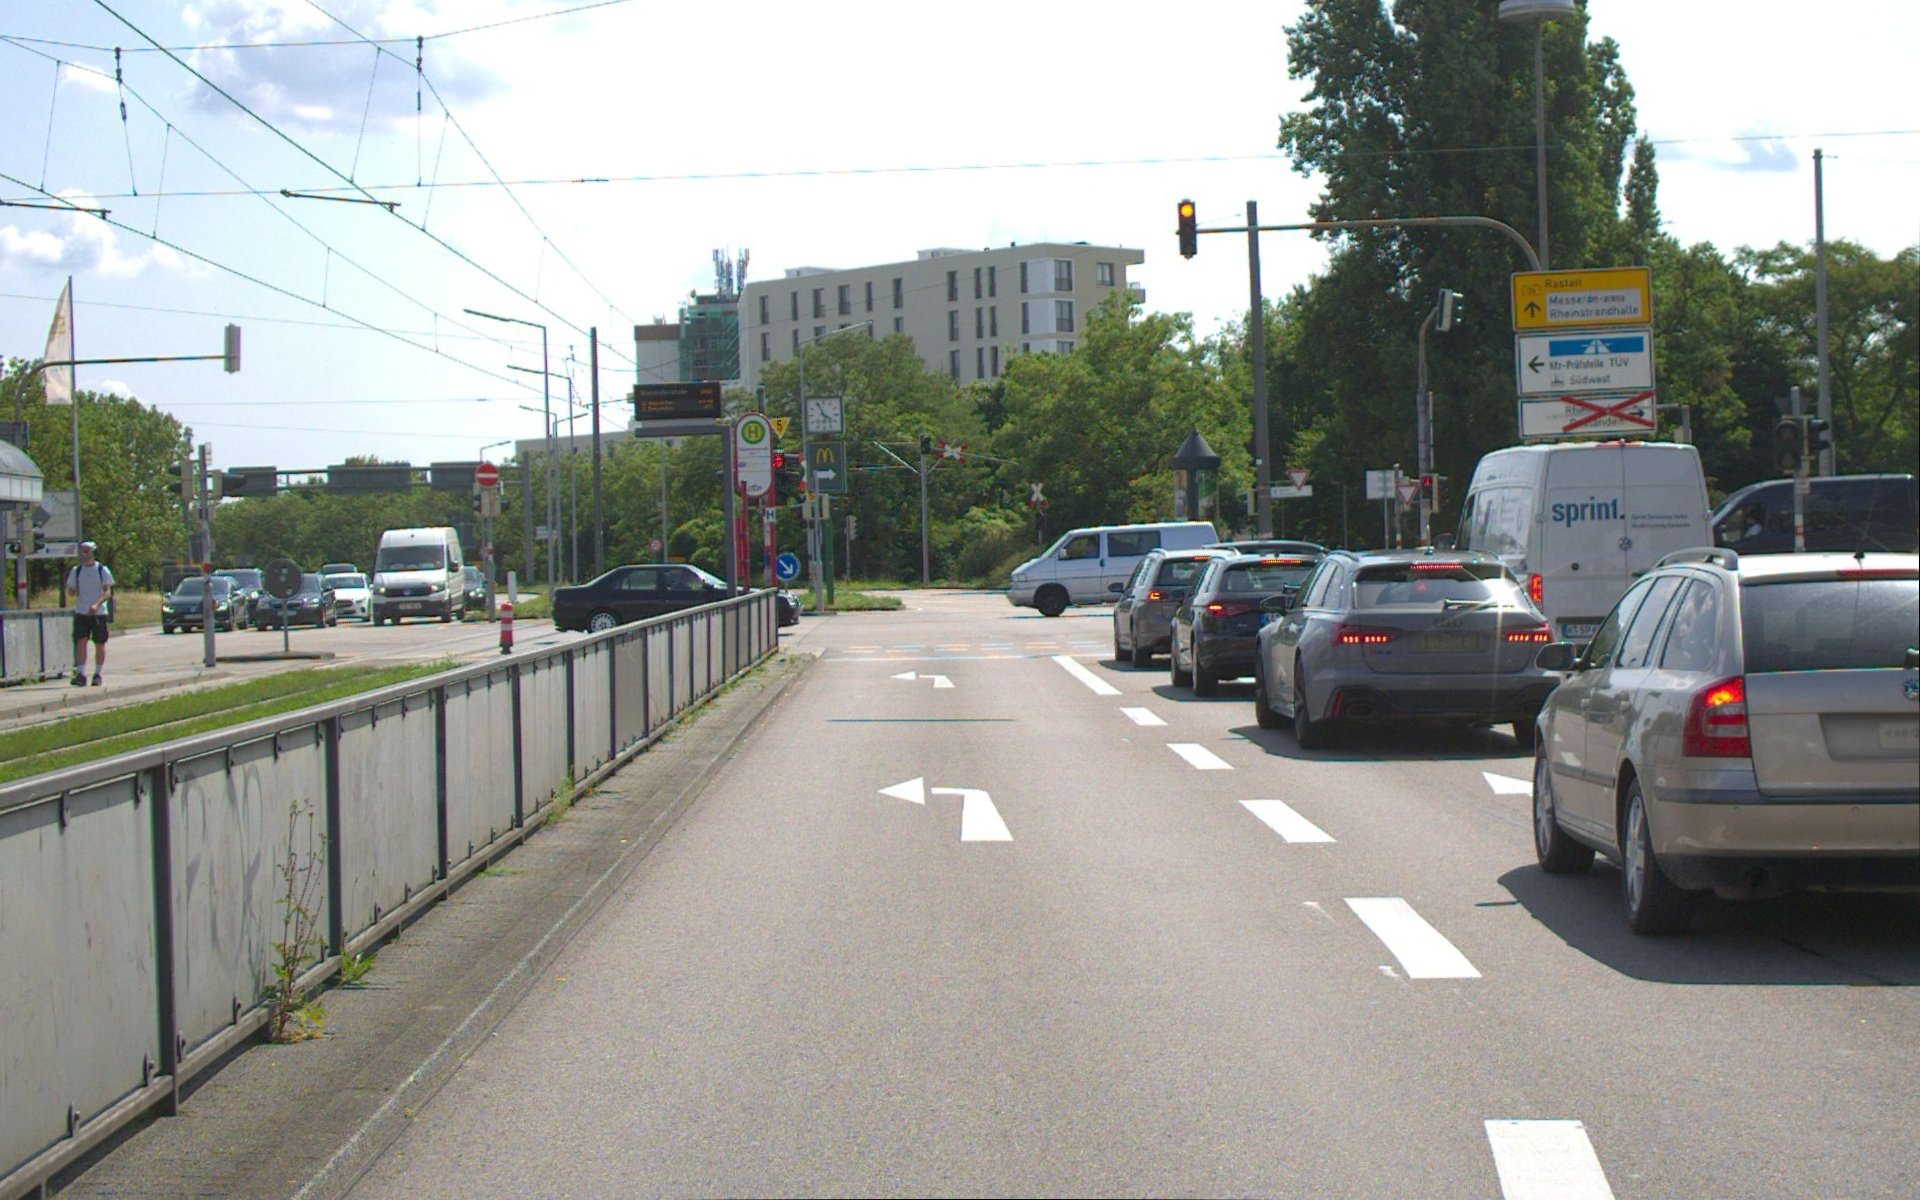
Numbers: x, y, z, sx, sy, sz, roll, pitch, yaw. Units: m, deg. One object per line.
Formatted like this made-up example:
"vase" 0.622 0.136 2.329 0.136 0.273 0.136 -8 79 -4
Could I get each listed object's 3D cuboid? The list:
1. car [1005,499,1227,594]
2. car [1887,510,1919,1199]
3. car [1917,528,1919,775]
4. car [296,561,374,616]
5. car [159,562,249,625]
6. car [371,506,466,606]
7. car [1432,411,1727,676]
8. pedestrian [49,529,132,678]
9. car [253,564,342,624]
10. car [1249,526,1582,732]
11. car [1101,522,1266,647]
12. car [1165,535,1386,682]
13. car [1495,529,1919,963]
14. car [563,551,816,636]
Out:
"car" 3.343 -1.166 74.486 4.676 1.929 2.000 -1 1 0
"car" 2.699 0.622 5.375 1.787 1.571 4.093 -1 1 6
"car" 6.677 0.347 18.455 1.854 1.487 4.536 -1 1 1
"car" -18.160 -0.352 100.020 1.802 1.536 4.165 0 1 -4
"car" -20.526 -0.199 93.509 1.862 1.645 4.001 0 1 -5
"car" -14.492 -1.179 92.170 1.993 2.597 4.879 0 1 -3
"car" 6.443 -0.606 36.357 2.041 2.549 5.232 -1 1 -1
"pedestrian" -10.643 0.039 42.092 0.807 1.789 0.709 -1 1 -3
"car" -17.607 -0.179 91.476 1.896 1.536 3.730 0 1 -4
"car" 3.421 0.152 26.677 1.887 1.443 4.828 0 1 -1
"car" 2.799 -0.231 43.845 1.744 1.494 4.380 -1 1 -1
"car" 3.221 0.043 35.778 1.869 1.415 4.100 0 1 -1
"car" 3.439 0.465 14.332 1.739 1.487 4.630 -1 1 1
"car" -4.903 -0.127 62.815 4.459 1.509 2.000 0 1 0
